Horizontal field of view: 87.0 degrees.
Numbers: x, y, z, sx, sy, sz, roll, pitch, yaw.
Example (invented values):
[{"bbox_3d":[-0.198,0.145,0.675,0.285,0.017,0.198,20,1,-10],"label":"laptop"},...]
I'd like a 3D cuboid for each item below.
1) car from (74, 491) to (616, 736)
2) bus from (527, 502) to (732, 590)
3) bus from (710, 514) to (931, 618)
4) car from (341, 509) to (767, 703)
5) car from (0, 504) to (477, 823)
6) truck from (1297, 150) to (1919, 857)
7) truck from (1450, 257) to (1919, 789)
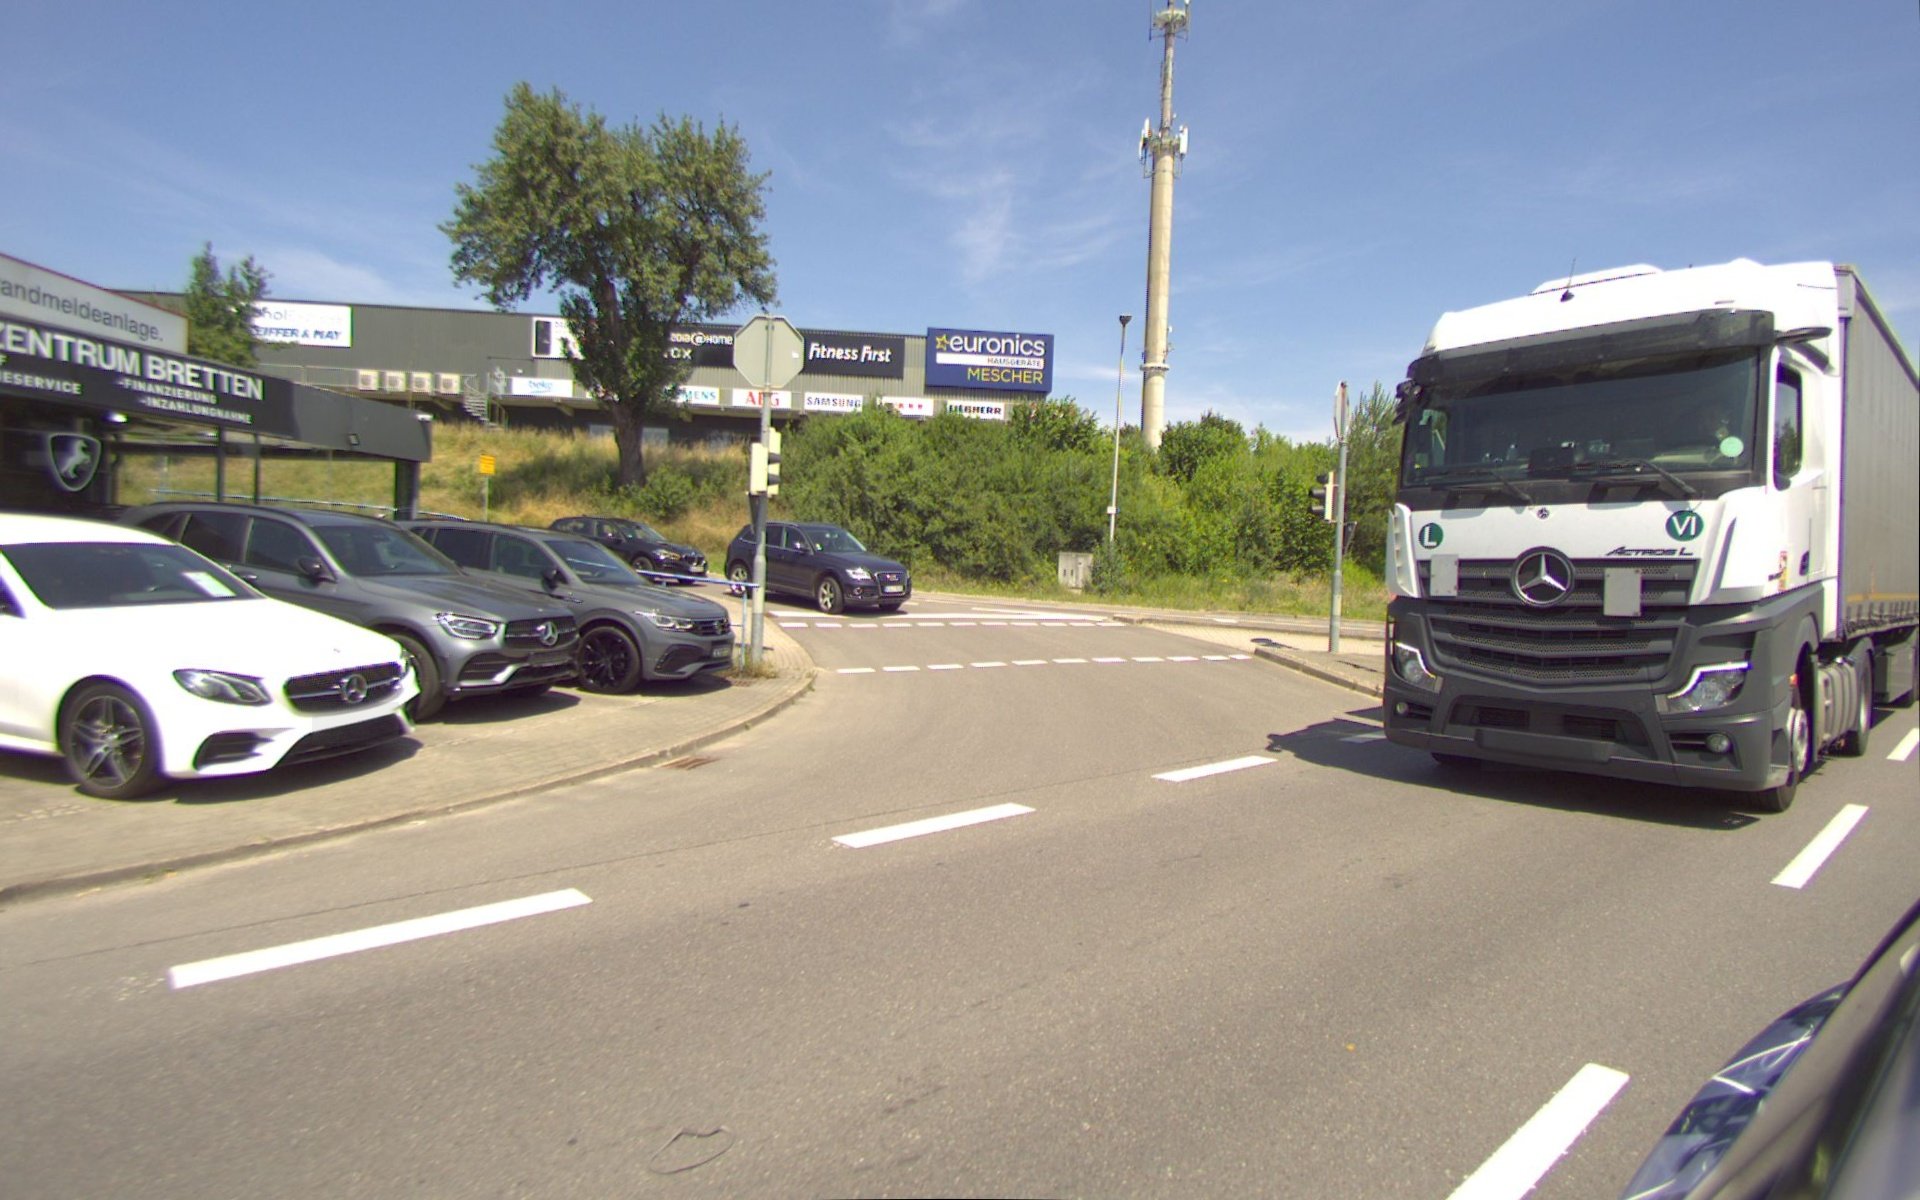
[{"bbox_3d":[-5.541,0.024,9.288,4.114,1.712,1.877,4,3,14],"label":"car"},{"bbox_3d":[-7.789,-1.322,23.812,4.459,1.669,1.928,6,6,25],"label":"bus"},{"bbox_3d":[-2.926,-0.779,20.599,4.487,1.669,1.916,8,7,40],"label":"bus"},{"bbox_3d":[-4.513,-0.013,11.462,4.123,1.712,1.877,4,3,14],"label":"car"},{"bbox_3d":[-6.030,0.201,6.891,4.666,1.571,1.994,4,3,11],"label":"car"},{"bbox_3d":[6.095,-0.634,9.019,6.217,4.058,2.979,0,4,-42],"label":"truck"},{"bbox_3d":[11.051,-0.690,13.523,13.881,4.058,2.979,0,4,-42],"label":"truck"}]
